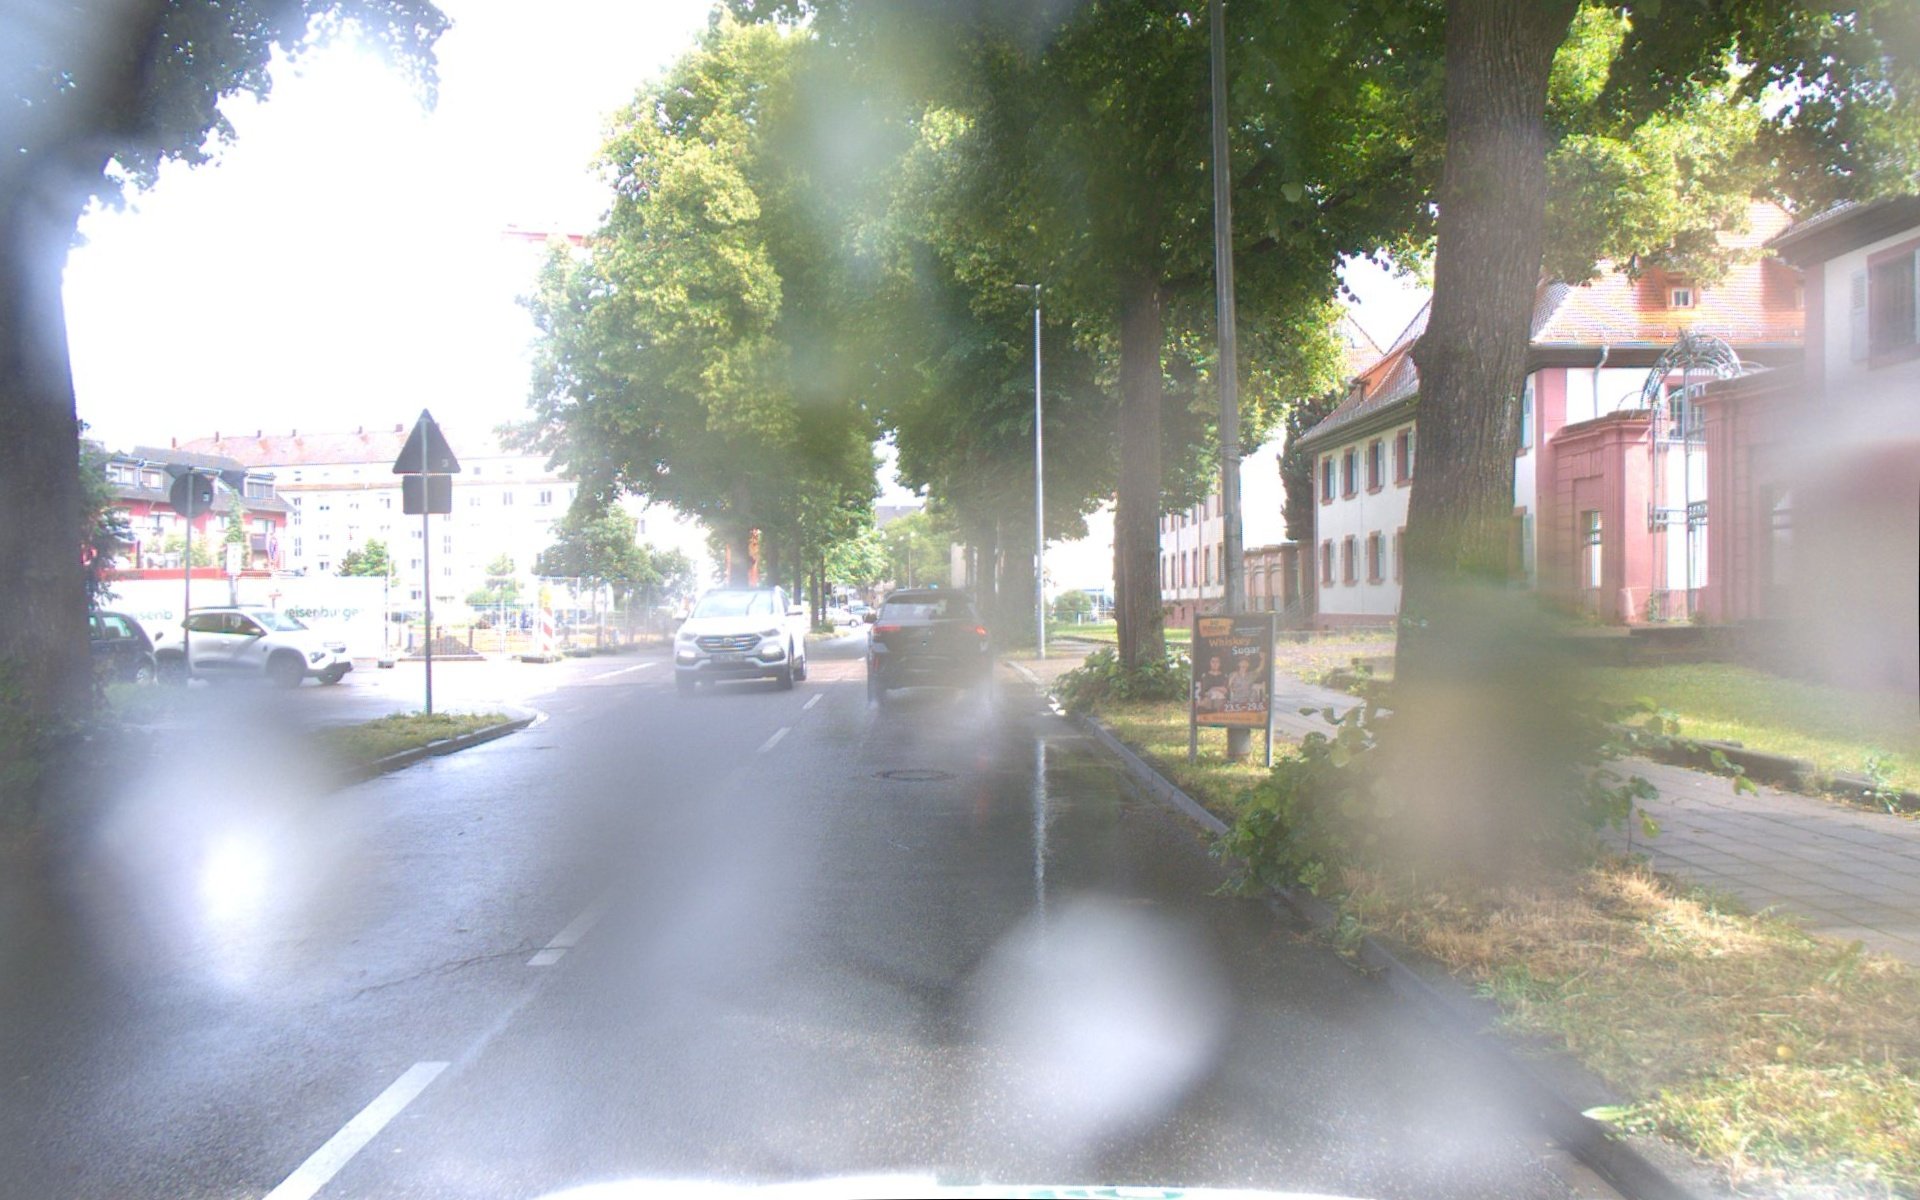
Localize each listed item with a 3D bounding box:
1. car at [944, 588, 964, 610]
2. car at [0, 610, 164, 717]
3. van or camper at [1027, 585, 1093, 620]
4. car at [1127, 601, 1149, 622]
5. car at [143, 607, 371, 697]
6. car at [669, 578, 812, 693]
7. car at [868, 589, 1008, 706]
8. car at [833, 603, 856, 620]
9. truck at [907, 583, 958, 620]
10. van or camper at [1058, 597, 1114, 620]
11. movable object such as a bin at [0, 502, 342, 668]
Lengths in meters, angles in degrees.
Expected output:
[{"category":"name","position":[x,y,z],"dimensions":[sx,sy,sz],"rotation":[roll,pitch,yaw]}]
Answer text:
[{"category":"car","position":[-0.647,-0.099,175.000],"dimensions":[1.952,2.049,4.000],"rotation":[-1,-2,2]},{"category":"car","position":[-13.498,0.920,24.437],"dimensions":[1.591,1.445,3.869],"rotation":[1,-2,0]},{"category":"van or camper","position":[7.838,0.223,129.884],"dimensions":[4.932,2.641,2.167],"rotation":[-1,-1,-3]},{"category":"car","position":[15.378,1.000,143.151],"dimensions":[1.706,1.713,3.872],"rotation":[-4,-1,5]},{"category":"car","position":[-13.193,0.956,31.123],"dimensions":[3.528,1.560,1.739],"rotation":[-1,0,9]},{"category":"car","position":[-3.590,0.547,27.751],"dimensions":[1.848,1.743,4.229],"rotation":[-1,0,-1]},{"category":"car","position":[-0.394,0.631,23.953],"dimensions":[1.857,1.549,3.997],"rotation":[0,0,-3]},{"category":"car","position":[-10.848,1.066,155.147],"dimensions":[1.557,1.538,3.734],"rotation":[-4,0,5]},{"category":"truck","position":[-2.181,0.066,125.993],"dimensions":[2.753,2.703,8.223],"rotation":[0,0,-9]},{"category":"van or camper","position":[11.211,0.737,147.138],"dimensions":[4.775,1.959,2.131],"rotation":[0,0,-1]},{"category":"movable object such as a bin","position":[-21.659,-0.390,43.349],"dimensions":[9.609,4.187,3.366],"rotation":[0,0,0]}]
